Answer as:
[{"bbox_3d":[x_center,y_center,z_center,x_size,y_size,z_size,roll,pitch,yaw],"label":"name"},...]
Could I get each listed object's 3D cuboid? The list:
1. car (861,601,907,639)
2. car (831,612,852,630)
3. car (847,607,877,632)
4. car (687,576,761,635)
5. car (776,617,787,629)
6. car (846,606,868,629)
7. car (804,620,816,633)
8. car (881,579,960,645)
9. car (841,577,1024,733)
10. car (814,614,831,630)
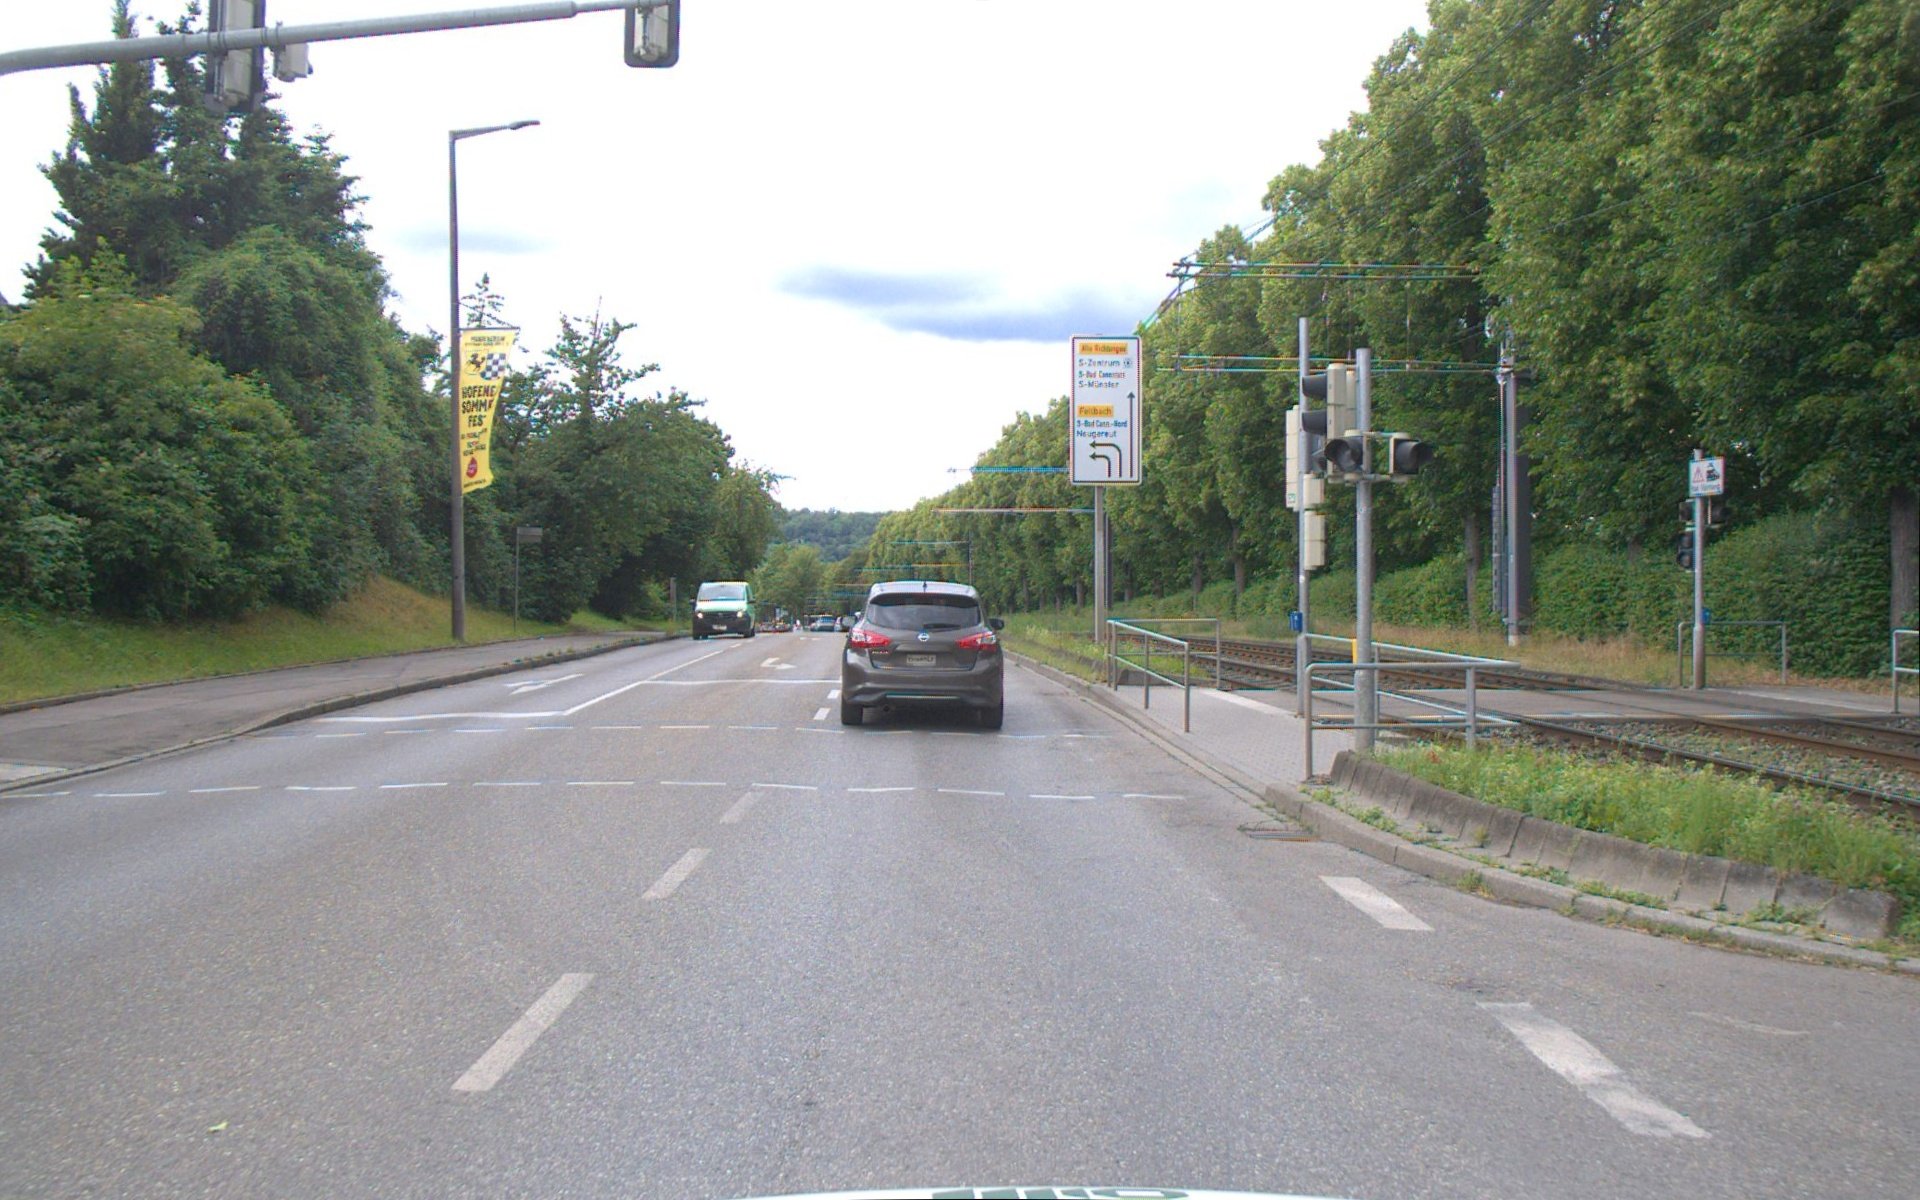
[{"bbox_3d":[-3.141,0.827,68.025,1.667,1.469,3.995,1,-2,-5],"label":"car"},{"bbox_3d":[-11.031,1.960,153.609,1.759,1.537,3.995,1,-2,-6],"label":"car"},{"bbox_3d":[-6.137,1.230,103.269,1.667,1.469,3.995,1,-2,-6],"label":"car"},{"bbox_3d":[-7.841,0.166,55.336,2.018,1.842,4.726,-1,0,-3],"label":"car"},{"bbox_3d":[-27.904,3.654,259.066,1.667,1.744,3.995,1,-2,-6],"label":"car"},{"bbox_3d":[-8.539,1.446,136.571,1.667,1.744,3.995,1,-2,-6],"label":"car"},{"bbox_3d":[-20.351,3.639,224.283,1.667,1.744,3.995,1,-2,-6],"label":"car"},{"bbox_3d":[-0.992,0.324,39.673,1.666,1.469,3.996,1,-2,-5],"label":"car"},{"bbox_3d":[-0.359,0.541,18.878,1.813,1.519,3.998,2,1,-2],"label":"car"},{"bbox_3d":[-14.465,2.312,173.954,1.759,1.537,3.995,1,-2,-6],"label":"car"}]
